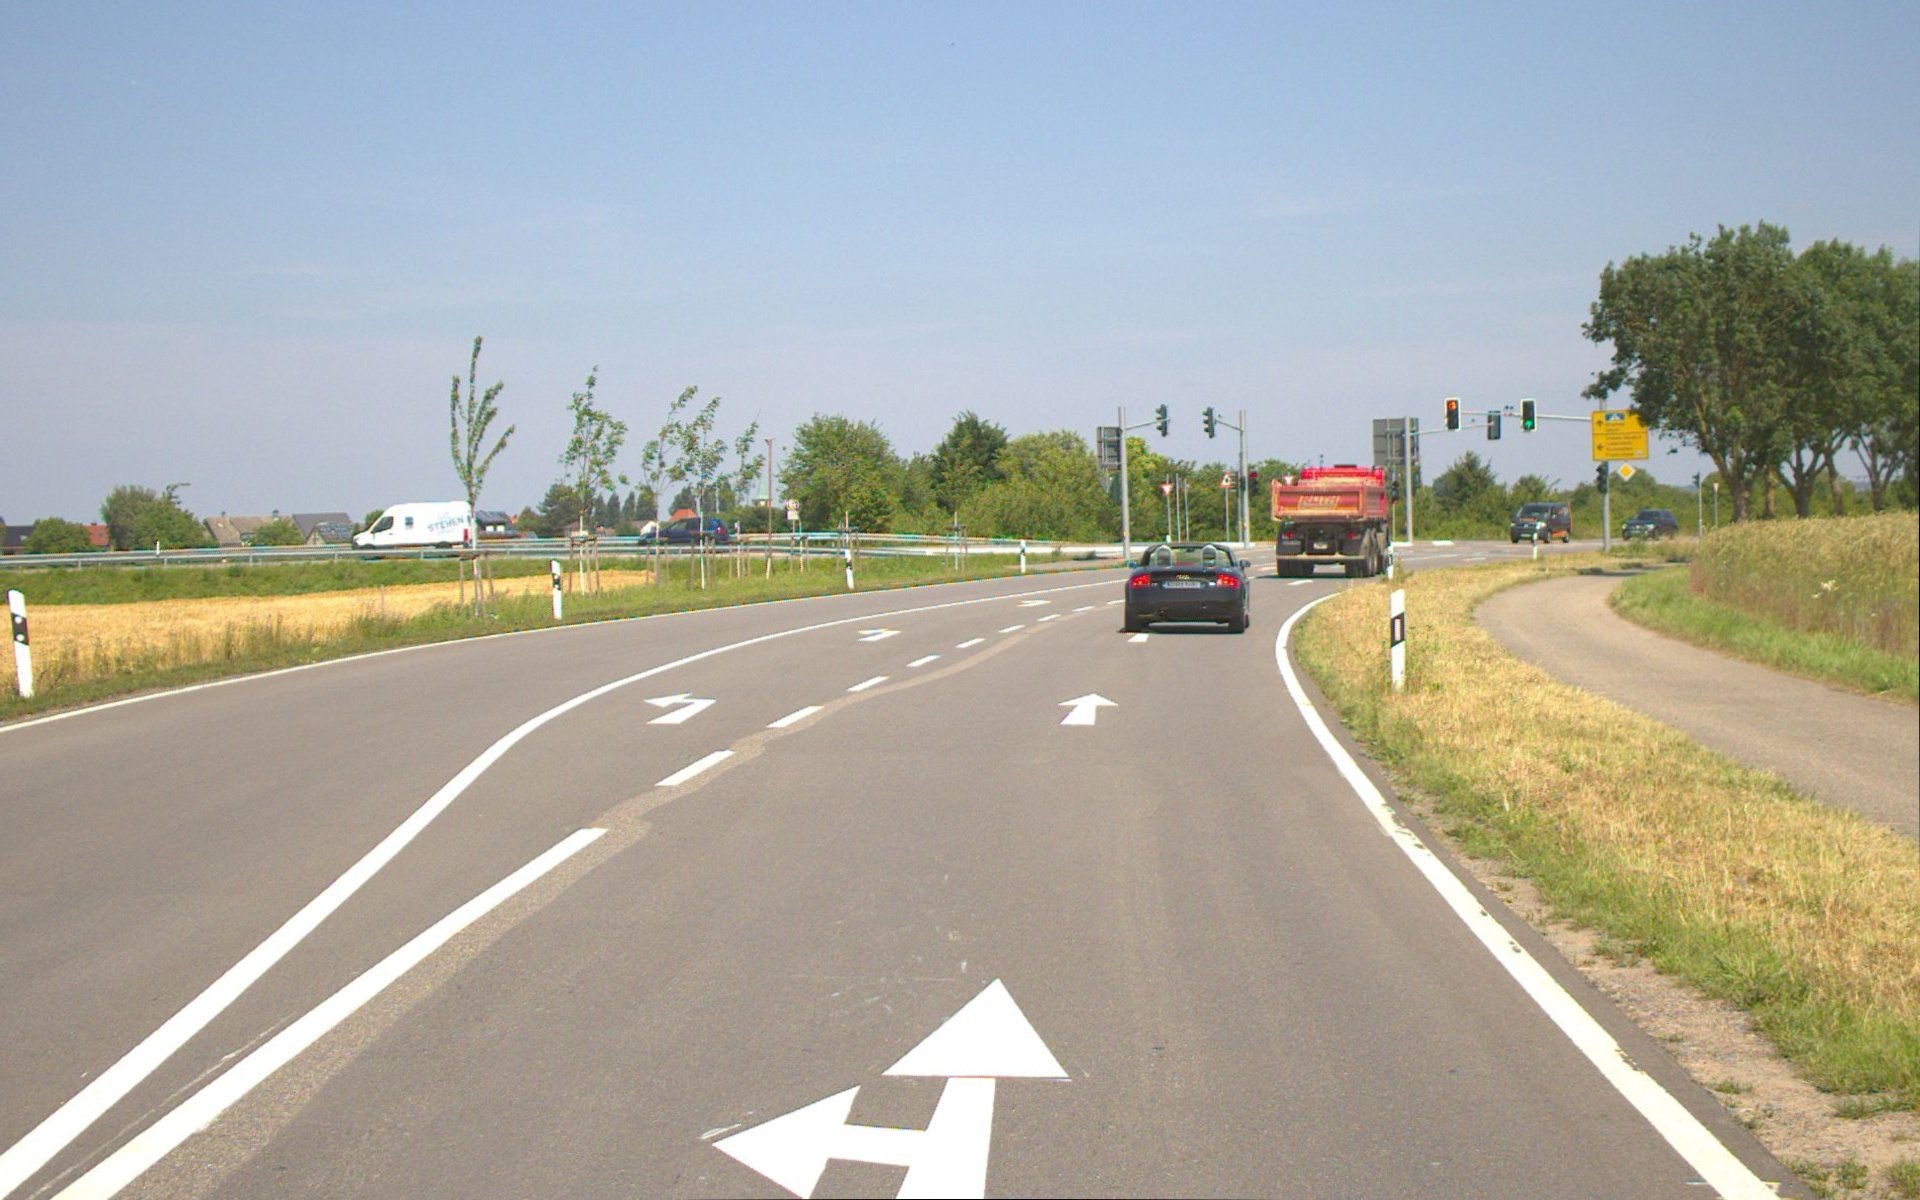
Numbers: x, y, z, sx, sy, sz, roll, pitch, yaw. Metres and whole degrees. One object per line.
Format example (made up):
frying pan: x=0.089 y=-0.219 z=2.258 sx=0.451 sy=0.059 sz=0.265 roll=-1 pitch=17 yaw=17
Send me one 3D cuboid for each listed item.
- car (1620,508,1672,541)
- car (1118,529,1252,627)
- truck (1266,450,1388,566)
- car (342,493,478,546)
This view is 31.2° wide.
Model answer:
car: x=37.113 y=-4.110 z=185.974 sx=1.933 sy=1.733 sz=4.884 roll=0 pitch=2 yaw=22
car: x=3.341 y=-0.325 z=50.545 sx=1.748 sy=1.371 sz=3.678 roll=1 pitch=0 yaw=7
truck: x=10.259 y=-2.478 z=95.369 sx=2.715 sy=3.042 sz=8.161 roll=0 pitch=0 yaw=11
car: x=-26.094 y=-3.819 z=163.234 sx=5.920 sy=2.413 sz=2.247 roll=0 pitch=2 yaw=11
